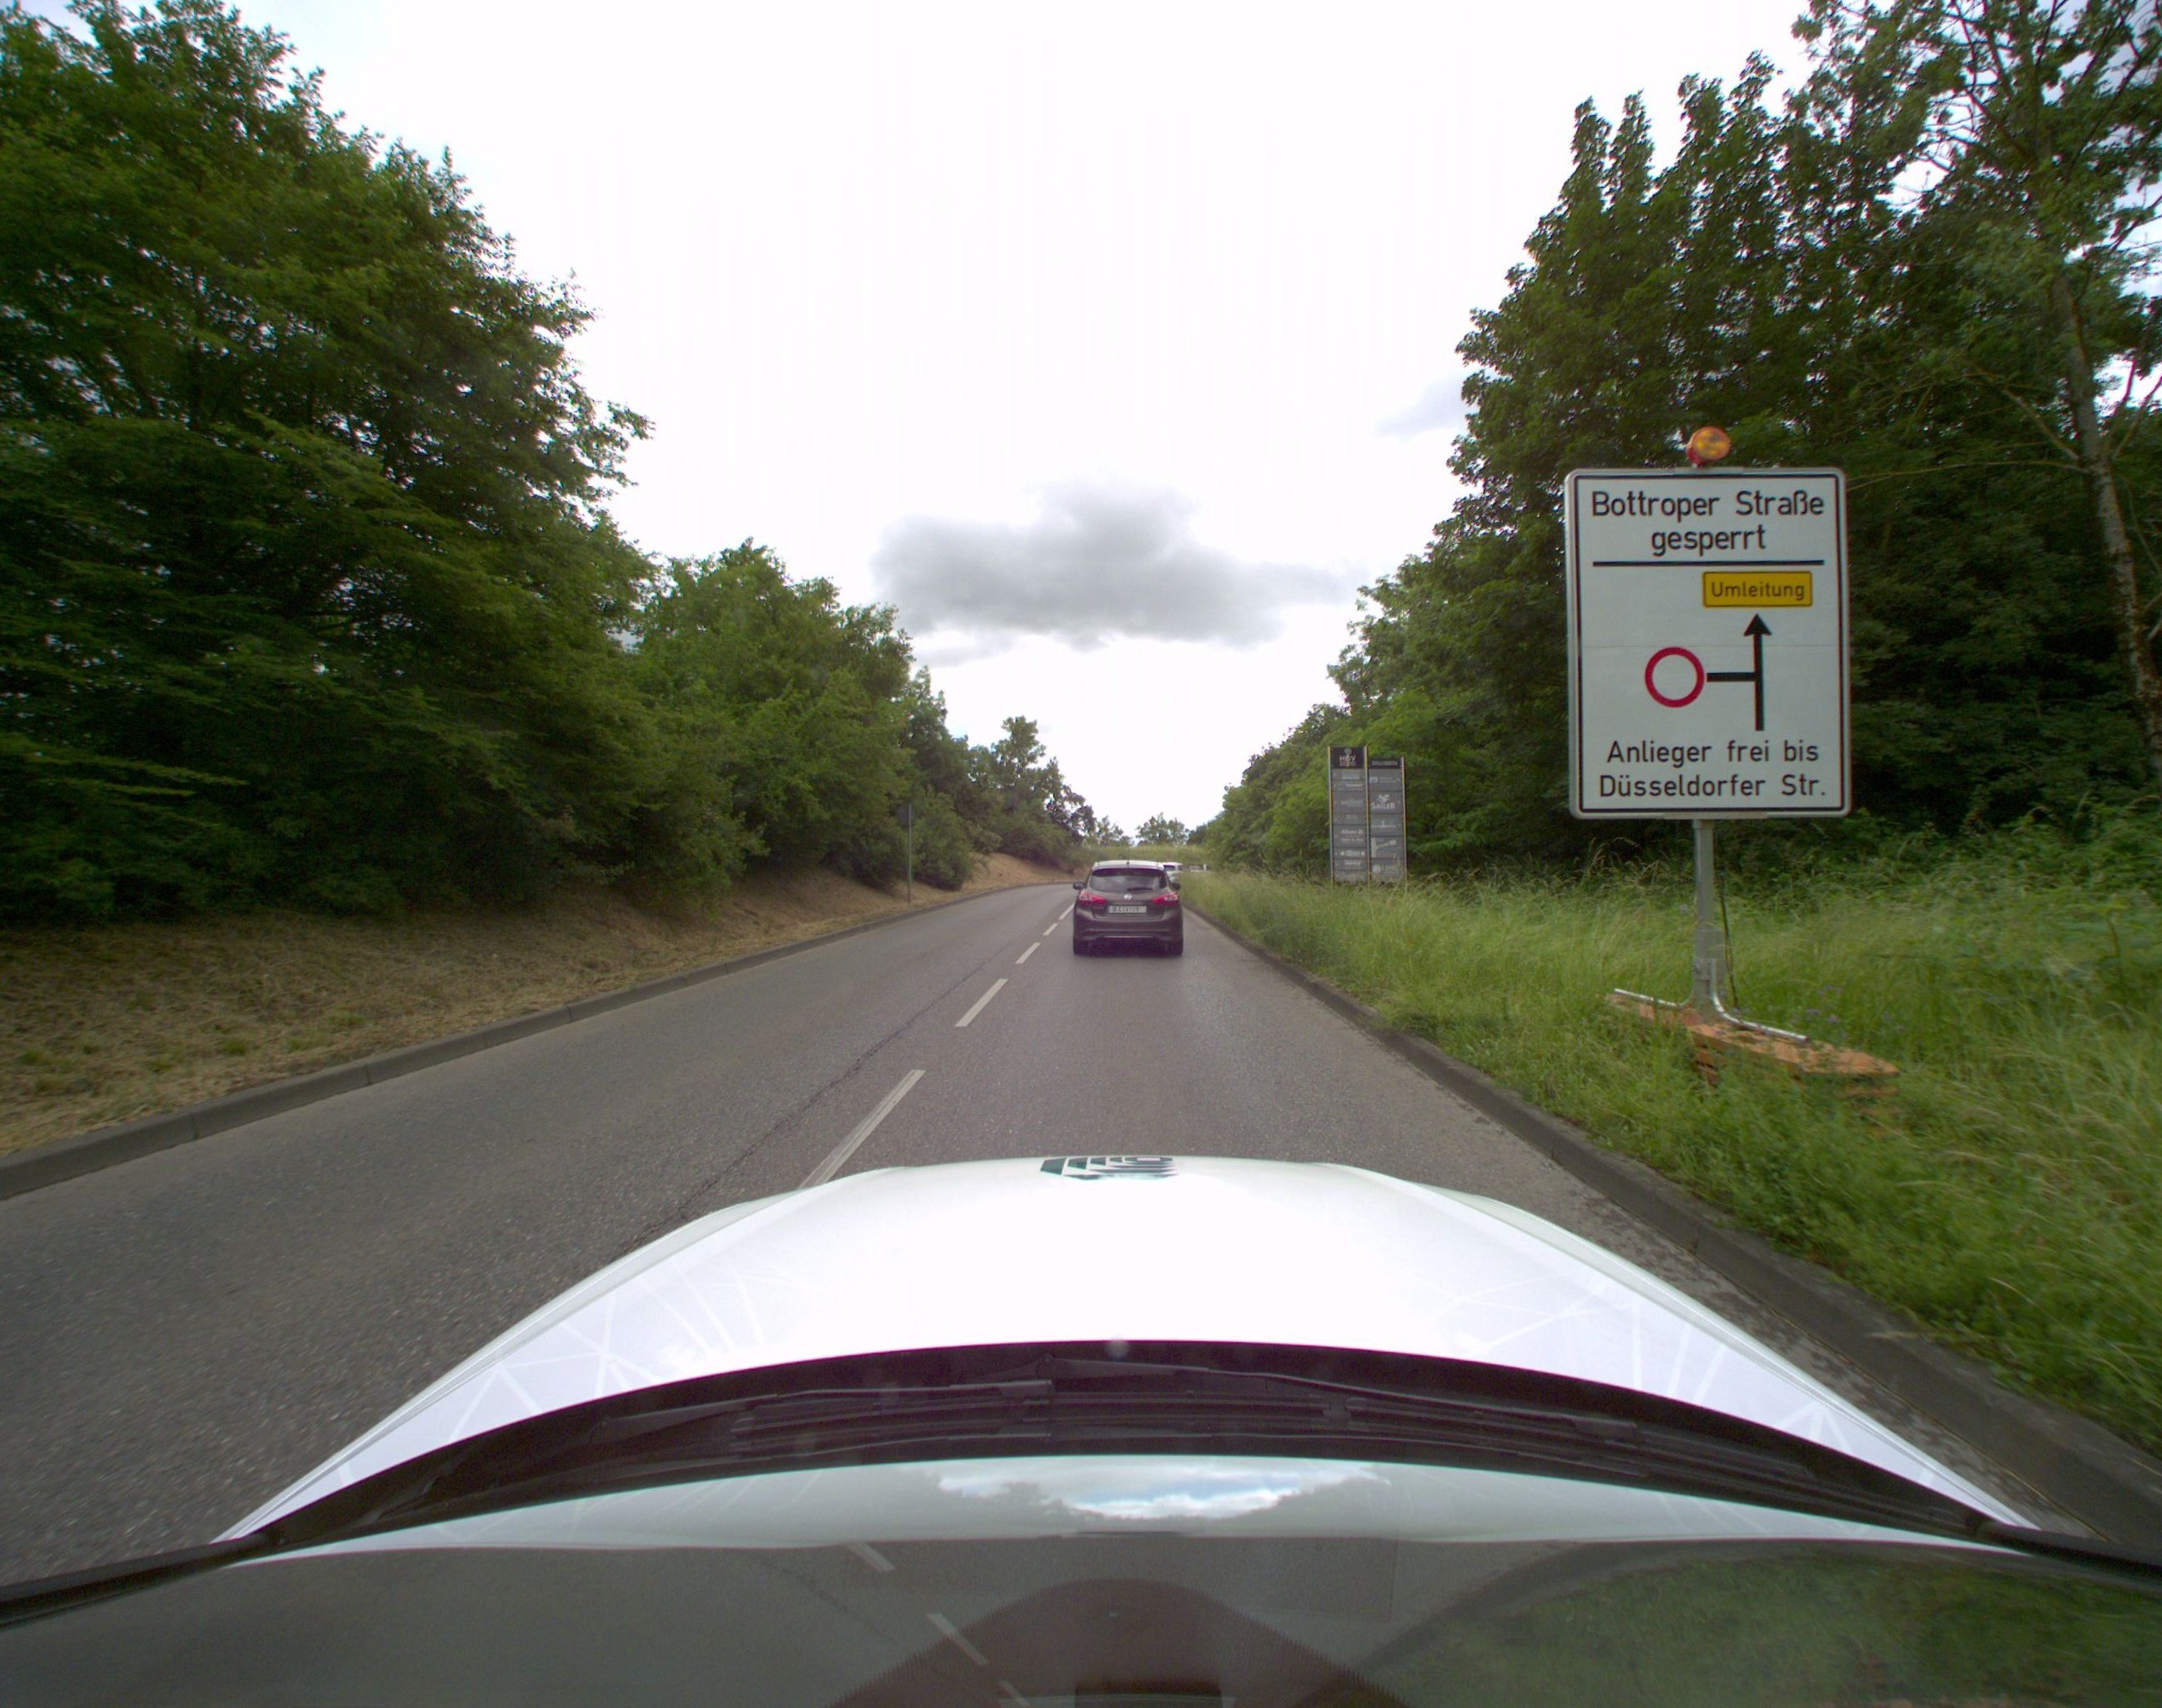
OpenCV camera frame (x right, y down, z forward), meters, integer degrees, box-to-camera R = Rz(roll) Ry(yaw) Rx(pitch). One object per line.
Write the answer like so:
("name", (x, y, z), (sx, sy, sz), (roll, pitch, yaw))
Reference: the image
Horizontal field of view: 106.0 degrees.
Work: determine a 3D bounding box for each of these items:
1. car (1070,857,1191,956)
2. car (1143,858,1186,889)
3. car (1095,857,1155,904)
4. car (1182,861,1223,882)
("car", (0.755, 0.811, 14.412), (1.839, 1.493, 3.999), (0, 0, 0))
("car", (4.480, 1.015, 43.084), (1.708, 1.494, 3.591), (-1, 0, 14))
("car", (1.497, 0.888, 29.292), (1.839, 1.493, 4.226), (-2, 0, -1))
("car", (8.592, 1.218, 57.294), (1.781, 1.398, 4.023), (-1, 0, 24))
